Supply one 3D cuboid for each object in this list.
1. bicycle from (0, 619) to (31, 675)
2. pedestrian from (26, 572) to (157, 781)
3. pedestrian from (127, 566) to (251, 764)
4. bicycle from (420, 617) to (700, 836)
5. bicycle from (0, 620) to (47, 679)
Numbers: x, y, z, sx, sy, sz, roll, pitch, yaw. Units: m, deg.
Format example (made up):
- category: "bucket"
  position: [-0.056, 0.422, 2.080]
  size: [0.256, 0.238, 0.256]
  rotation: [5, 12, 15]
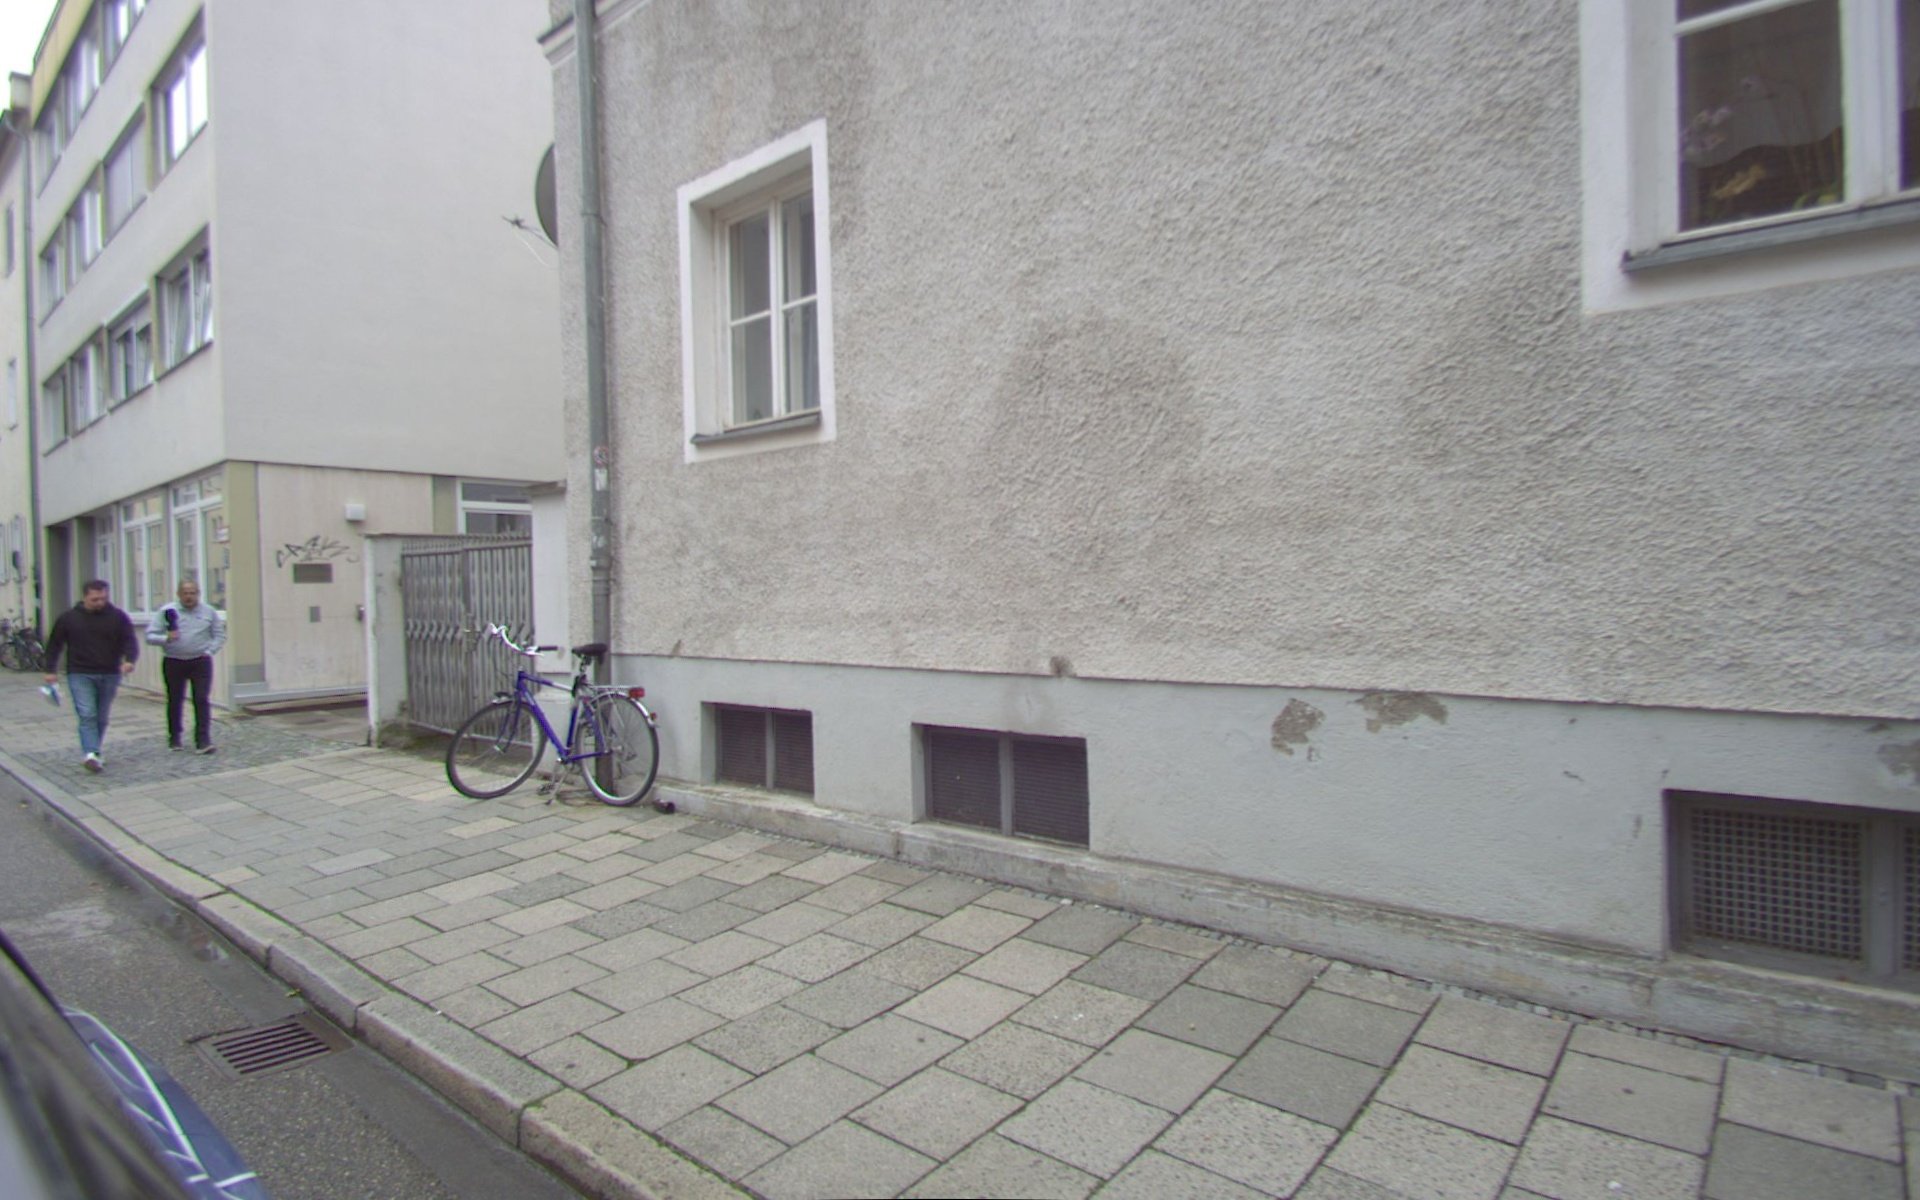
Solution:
- category: "bicycle"
  position: [-21.335, 1.043, 22.754]
  size: [1.605, 1.168, 0.453]
  rotation: [0, 3, 42]
- category: "pedestrian"
  position: [-7.907, 0.650, 9.213]
  size: [0.837, 1.778, 0.711]
  rotation: [-1, 2, 41]
- category: "pedestrian"
  position: [-7.537, 0.598, 9.893]
  size: [0.916, 1.810, 0.711]
  rotation: [-1, 2, 41]
- category: "bicycle"
  position: [-2.507, 0.726, 6.342]
  size: [1.653, 1.226, 0.639]
  rotation: [0, 0, 22]
- category: "bicycle"
  position: [-20.089, 1.035, 21.571]
  size: [1.717, 1.168, 0.557]
  rotation: [-1, 1, 35]
